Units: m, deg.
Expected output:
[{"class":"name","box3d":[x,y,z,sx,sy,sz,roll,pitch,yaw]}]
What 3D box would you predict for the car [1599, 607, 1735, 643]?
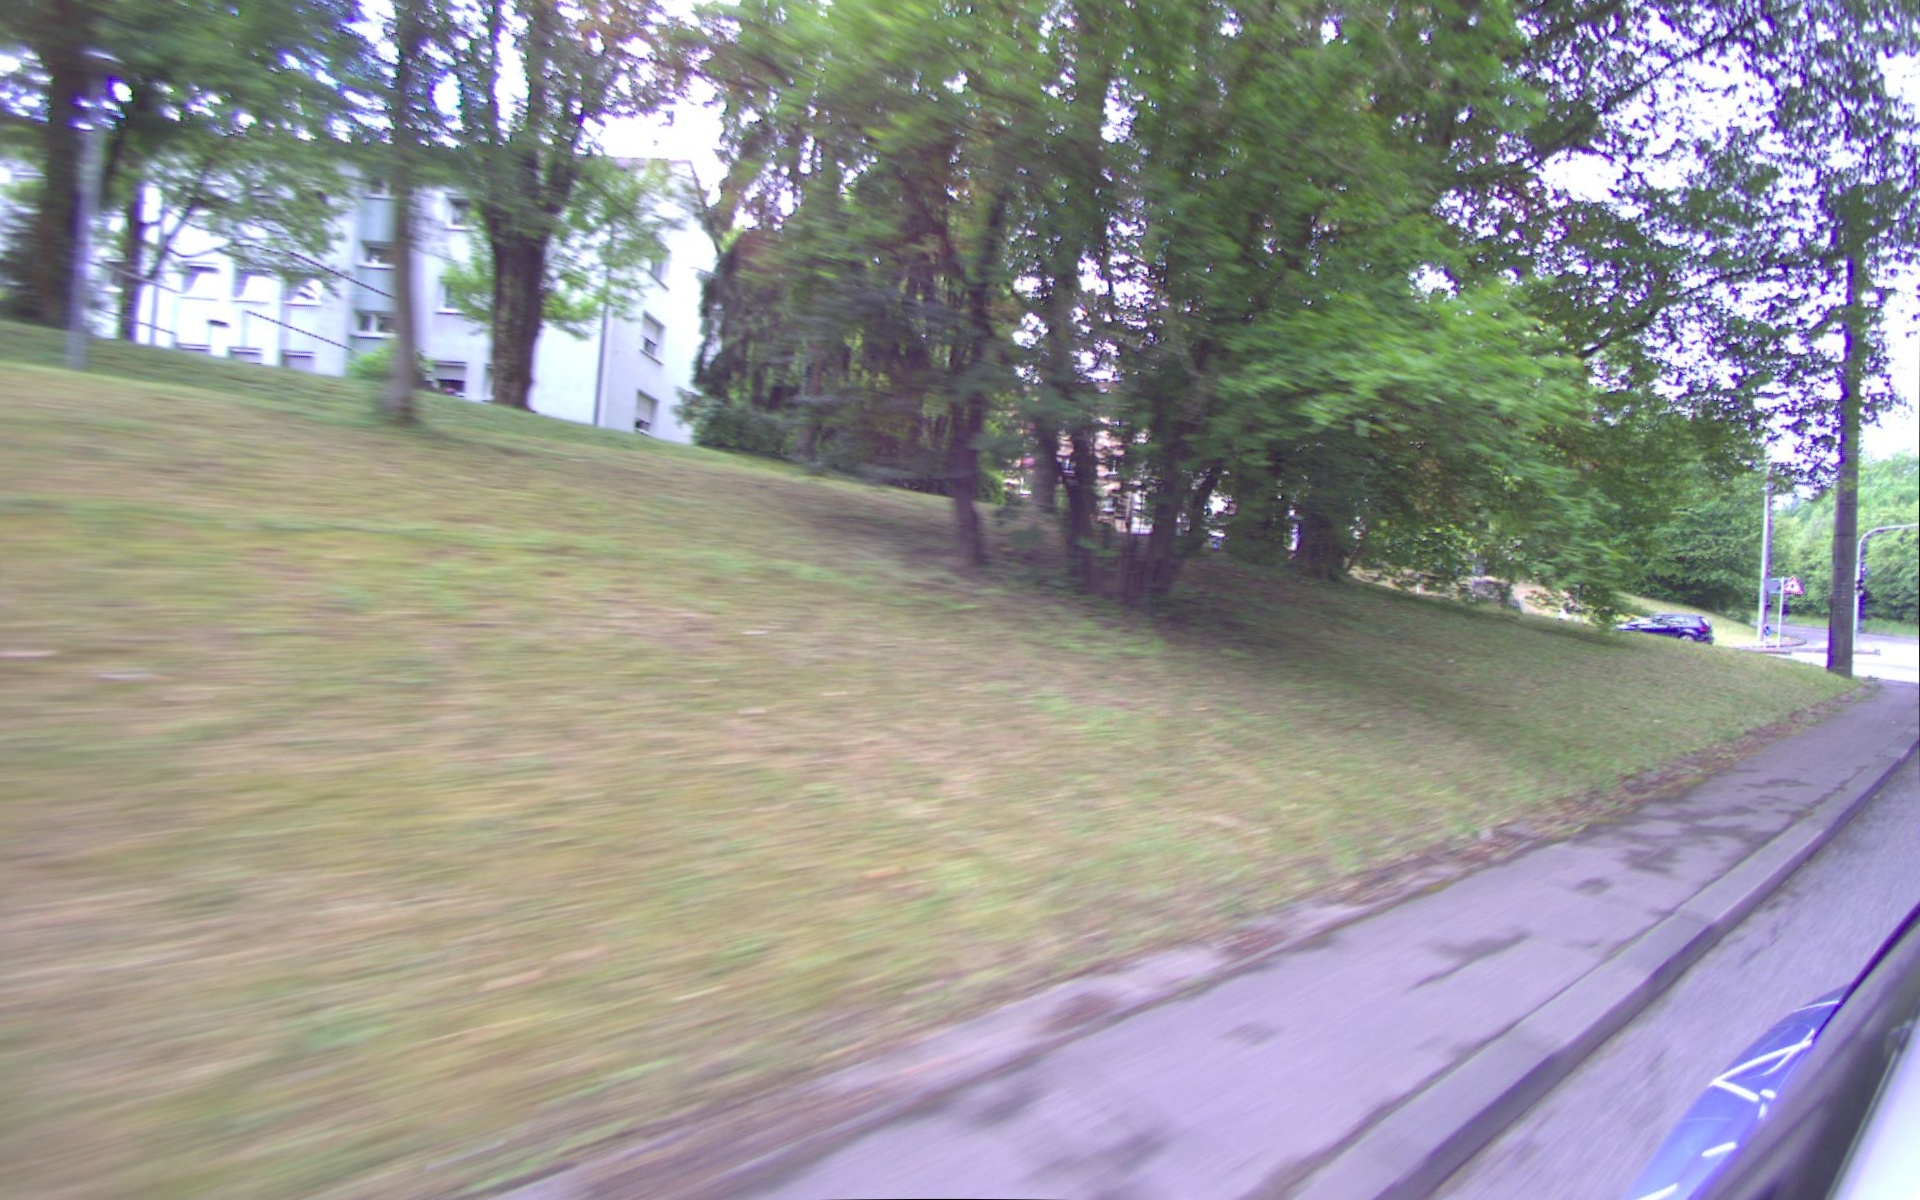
[{"class":"car","box3d":[32.236,1.140,46.268,1.763,1.534,4.834,2,-2,-40]}]
